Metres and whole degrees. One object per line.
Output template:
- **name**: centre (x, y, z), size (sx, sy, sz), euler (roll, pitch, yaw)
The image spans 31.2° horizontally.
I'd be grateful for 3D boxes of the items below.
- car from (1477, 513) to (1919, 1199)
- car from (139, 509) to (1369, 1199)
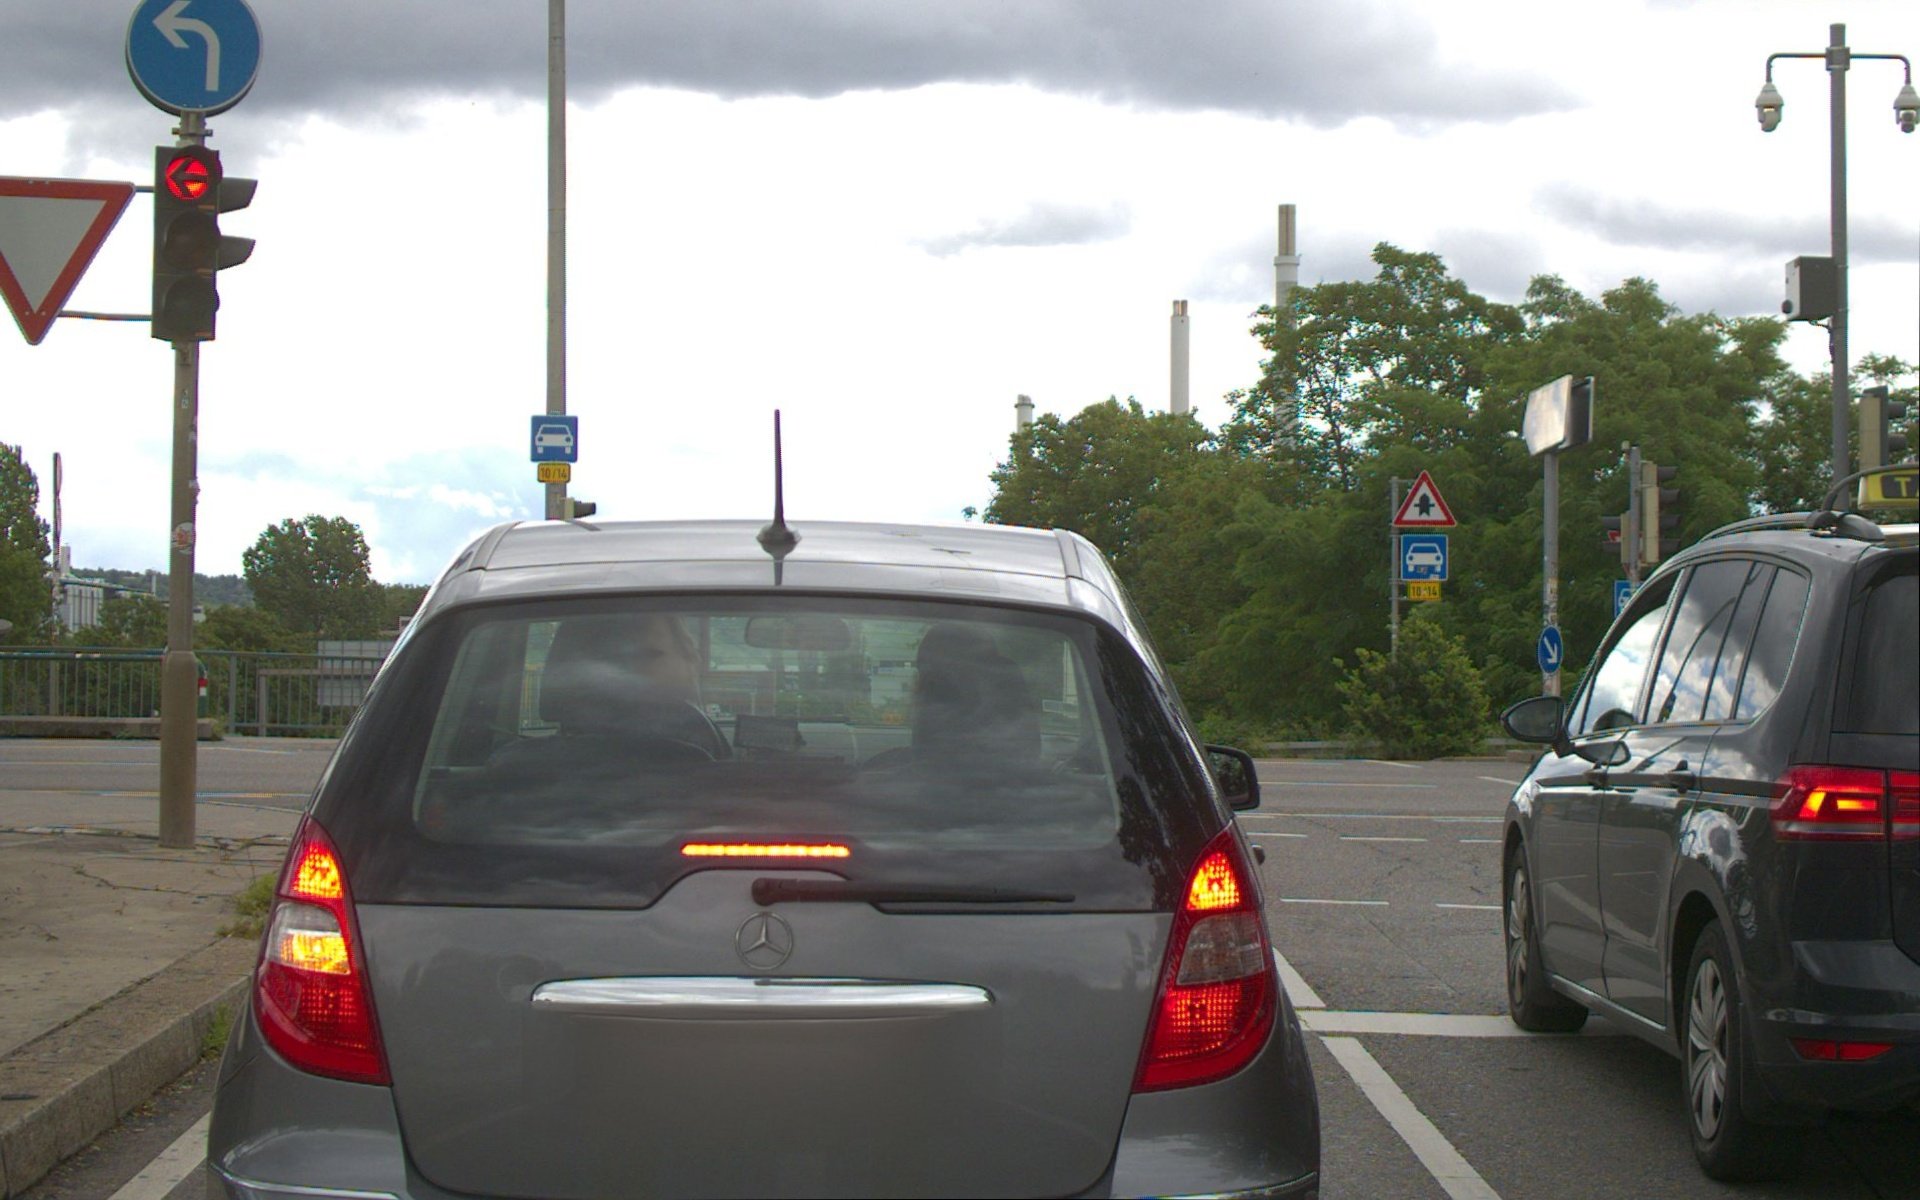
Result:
- **car**: centre (2.661, 0.625, 9.539), size (1.796, 1.647, 4.150), euler (1, 1, 0)
- **car**: centre (-0.312, 0.634, 6.669), size (1.739, 1.538, 3.541), euler (1, 1, 0)
